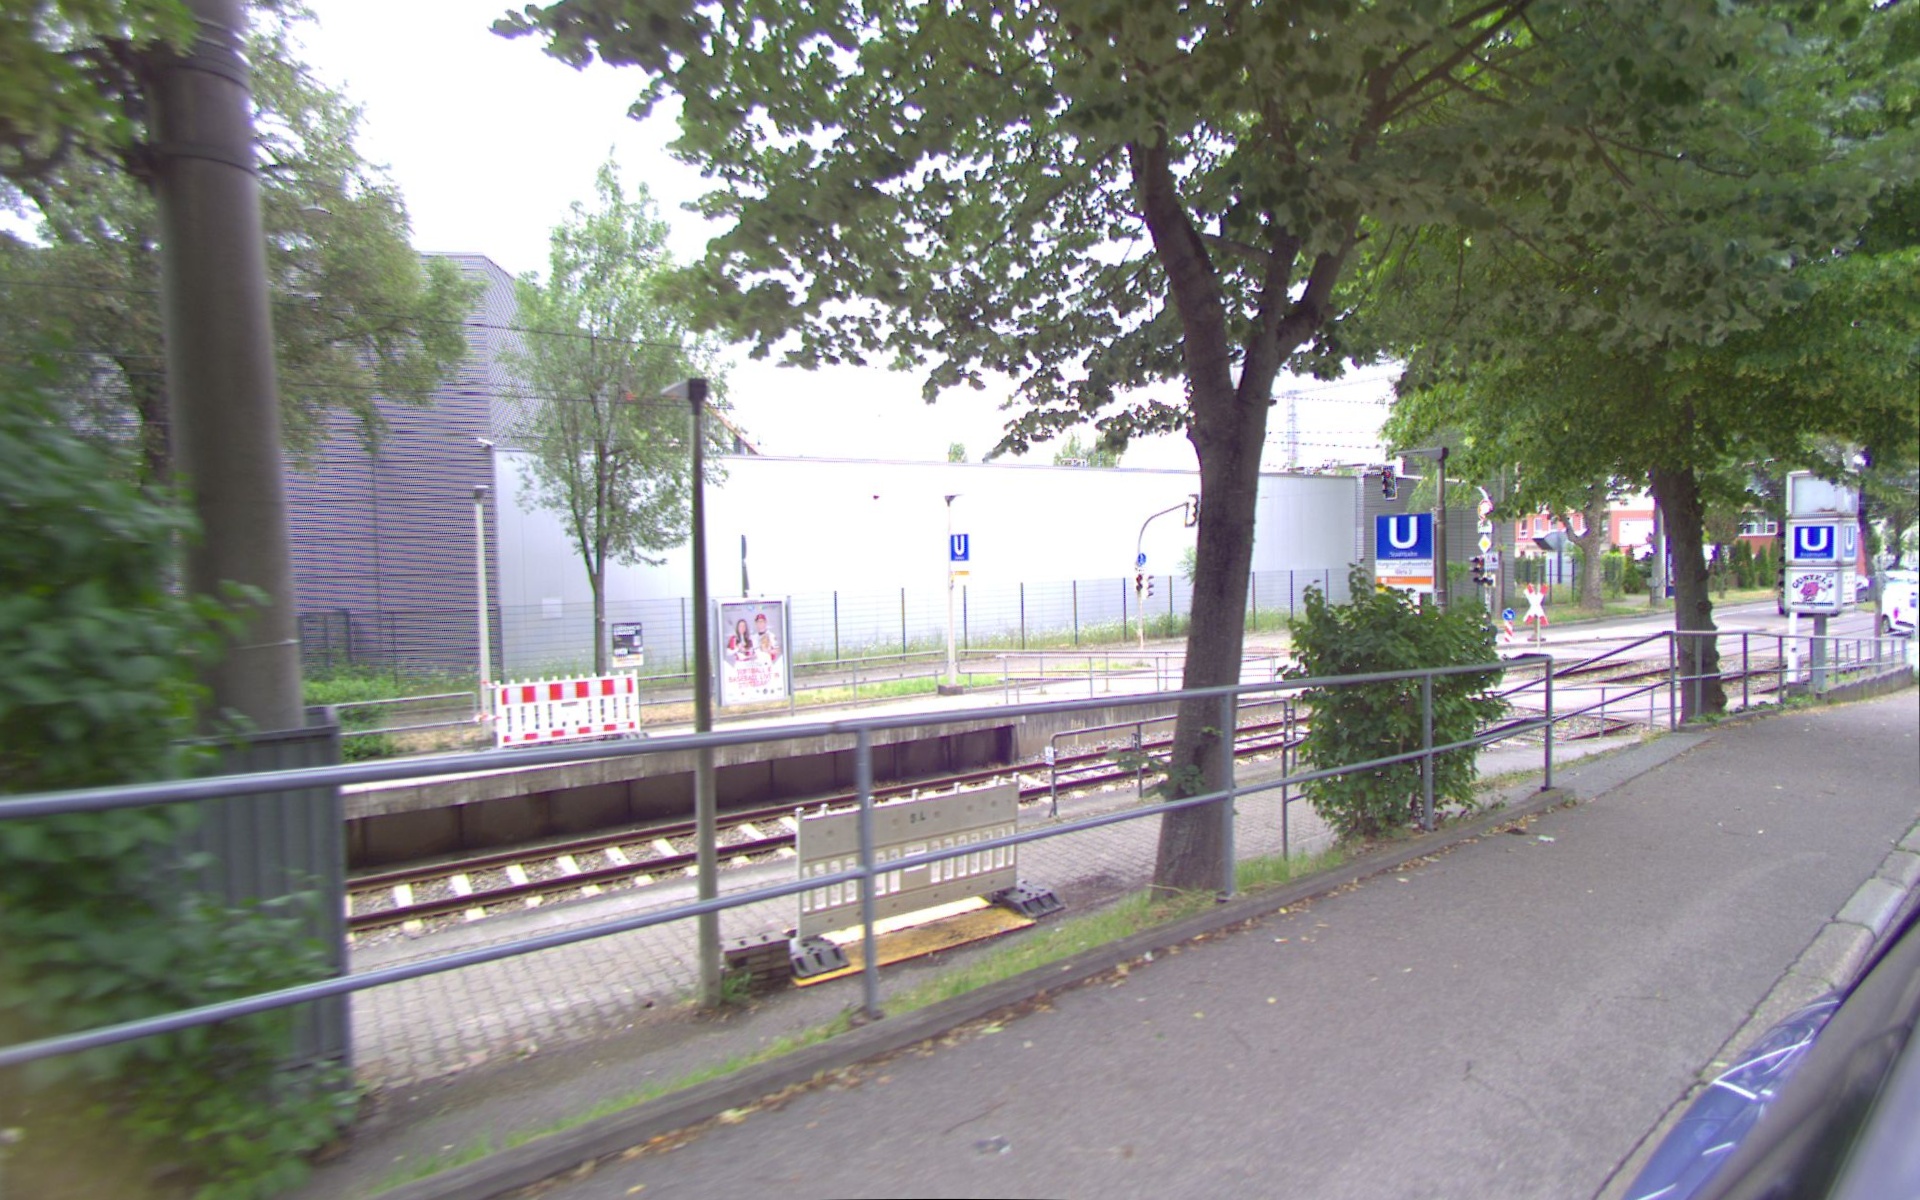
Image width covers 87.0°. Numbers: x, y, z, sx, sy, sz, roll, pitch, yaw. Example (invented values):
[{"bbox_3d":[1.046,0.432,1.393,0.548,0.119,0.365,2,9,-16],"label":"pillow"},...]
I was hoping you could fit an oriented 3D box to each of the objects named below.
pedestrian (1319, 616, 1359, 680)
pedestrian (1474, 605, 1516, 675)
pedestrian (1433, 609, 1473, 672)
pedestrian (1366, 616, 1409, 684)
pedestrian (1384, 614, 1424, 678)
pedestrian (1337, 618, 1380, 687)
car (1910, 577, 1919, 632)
[{"bbox_3d":[10.296,1.286,27.476,0.669,1.697,0.755,0,0,-29],"label":"pedestrian"},{"bbox_3d":[14.416,1.065,27.285,0.669,1.827,0.755,0,0,-29],"label":"pedestrian"},{"bbox_3d":[13.833,1.117,28.407,0.669,1.697,0.755,0,0,-29],"label":"pedestrian"},{"bbox_3d":[11.080,1.285,26.240,0.669,1.697,0.755,0,0,-29],"label":"pedestrian"},{"bbox_3d":[12.195,1.245,27.784,0.669,1.697,0.755,0,0,-29],"label":"pedestrian"},{"bbox_3d":[10.147,1.311,25.773,0.669,1.697,0.755,0,0,-29],"label":"pedestrian"},{"bbox_3d":[34.522,0.176,34.610,1.794,1.945,4.435,0,1,28],"label":"car"}]
